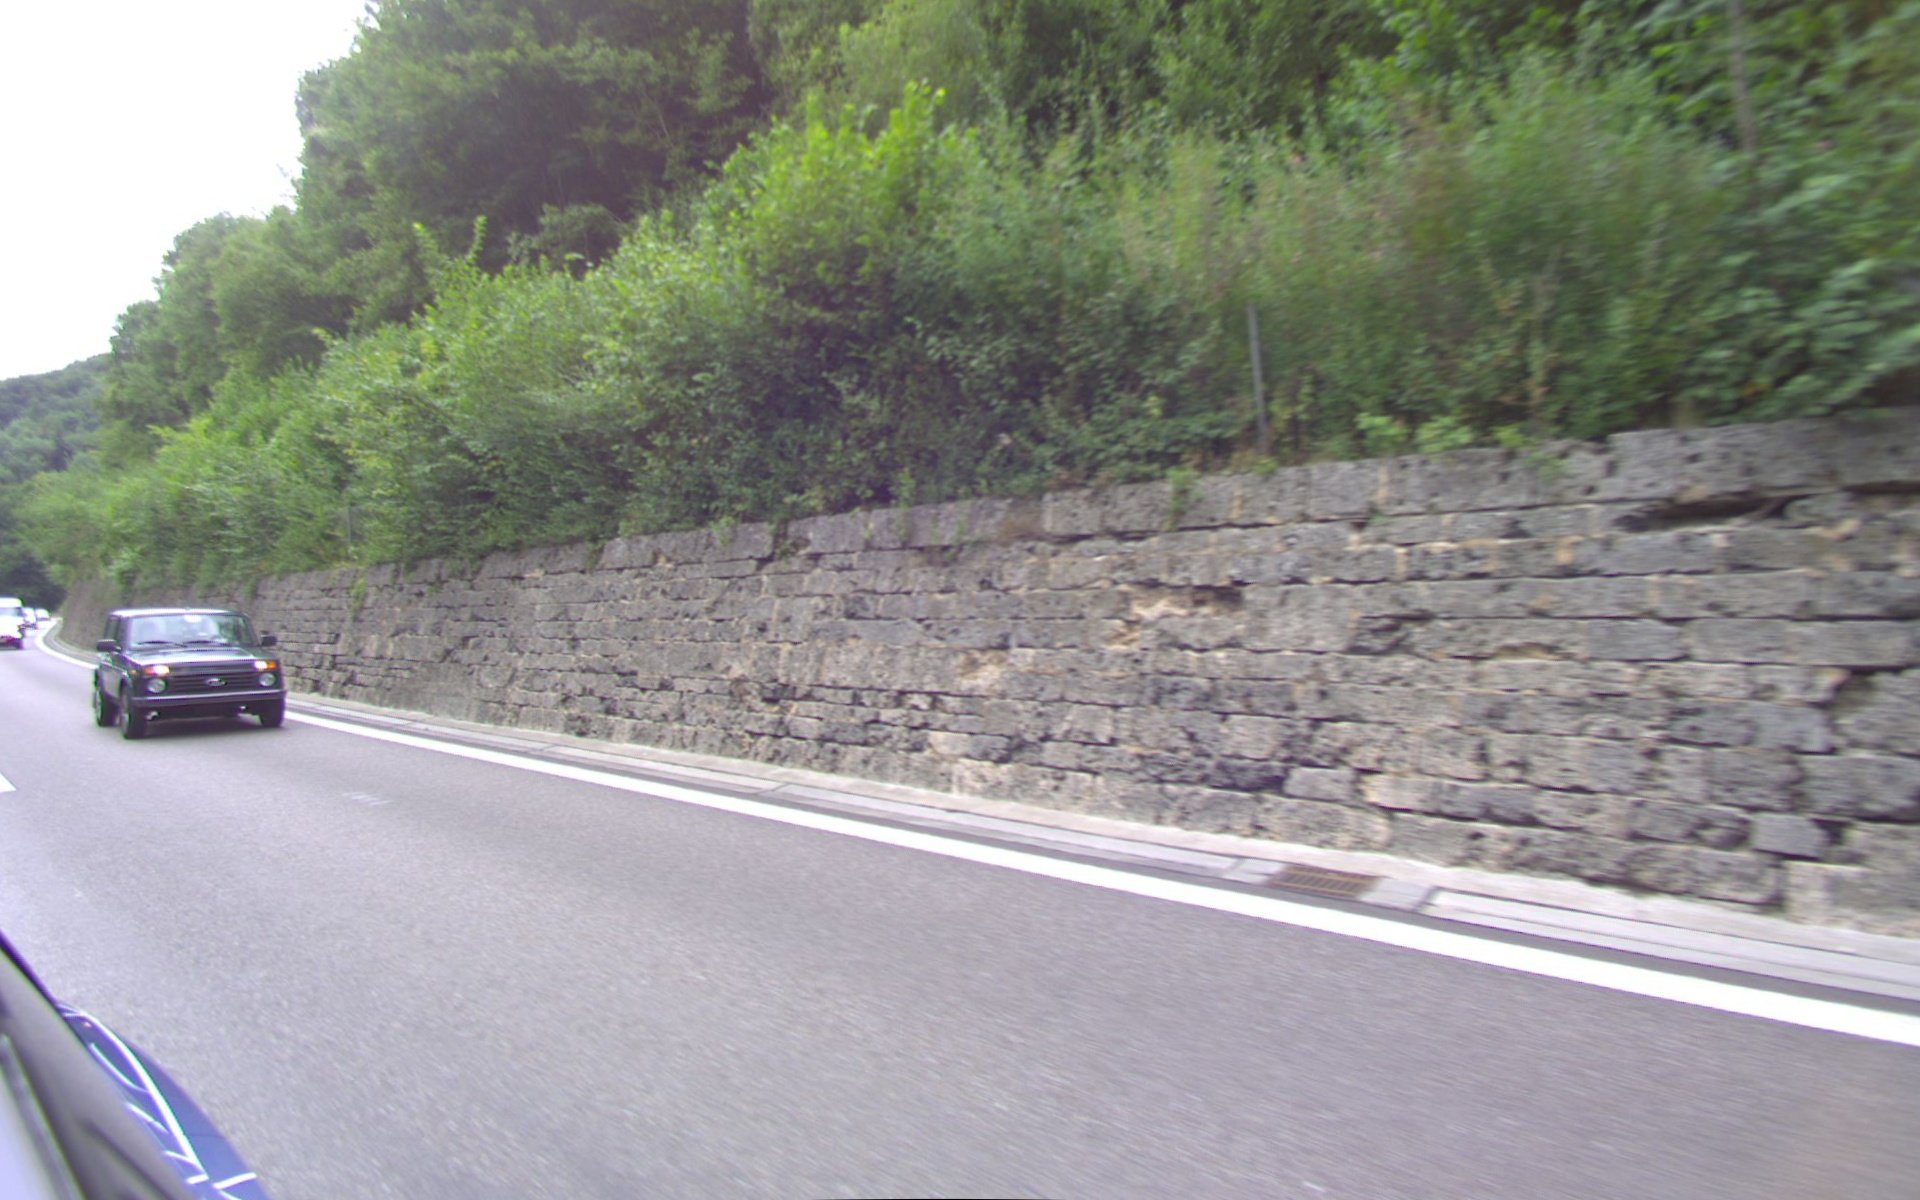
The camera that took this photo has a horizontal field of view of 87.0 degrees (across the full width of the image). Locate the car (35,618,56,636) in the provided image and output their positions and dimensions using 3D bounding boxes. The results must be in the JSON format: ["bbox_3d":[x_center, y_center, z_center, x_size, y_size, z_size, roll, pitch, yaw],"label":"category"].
[{"bbox_3d":[-131.707,3.893,145.758,1.946,2.580,4.592,0,-1,-38],"label":"car"}]

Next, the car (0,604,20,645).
[{"bbox_3d":[-64.041,1.660,67.489,1.948,2.663,4.588,0,-1,-43],"label":"car"}]

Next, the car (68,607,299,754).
[{"bbox_3d":[-10.893,0.983,14.069,4.583,1.668,1.789,-1,0,43],"label":"car"}]

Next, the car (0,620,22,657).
[{"bbox_3d":[-45.269,1.810,47.342,4.585,1.668,1.788,-2,0,44],"label":"car"}]
